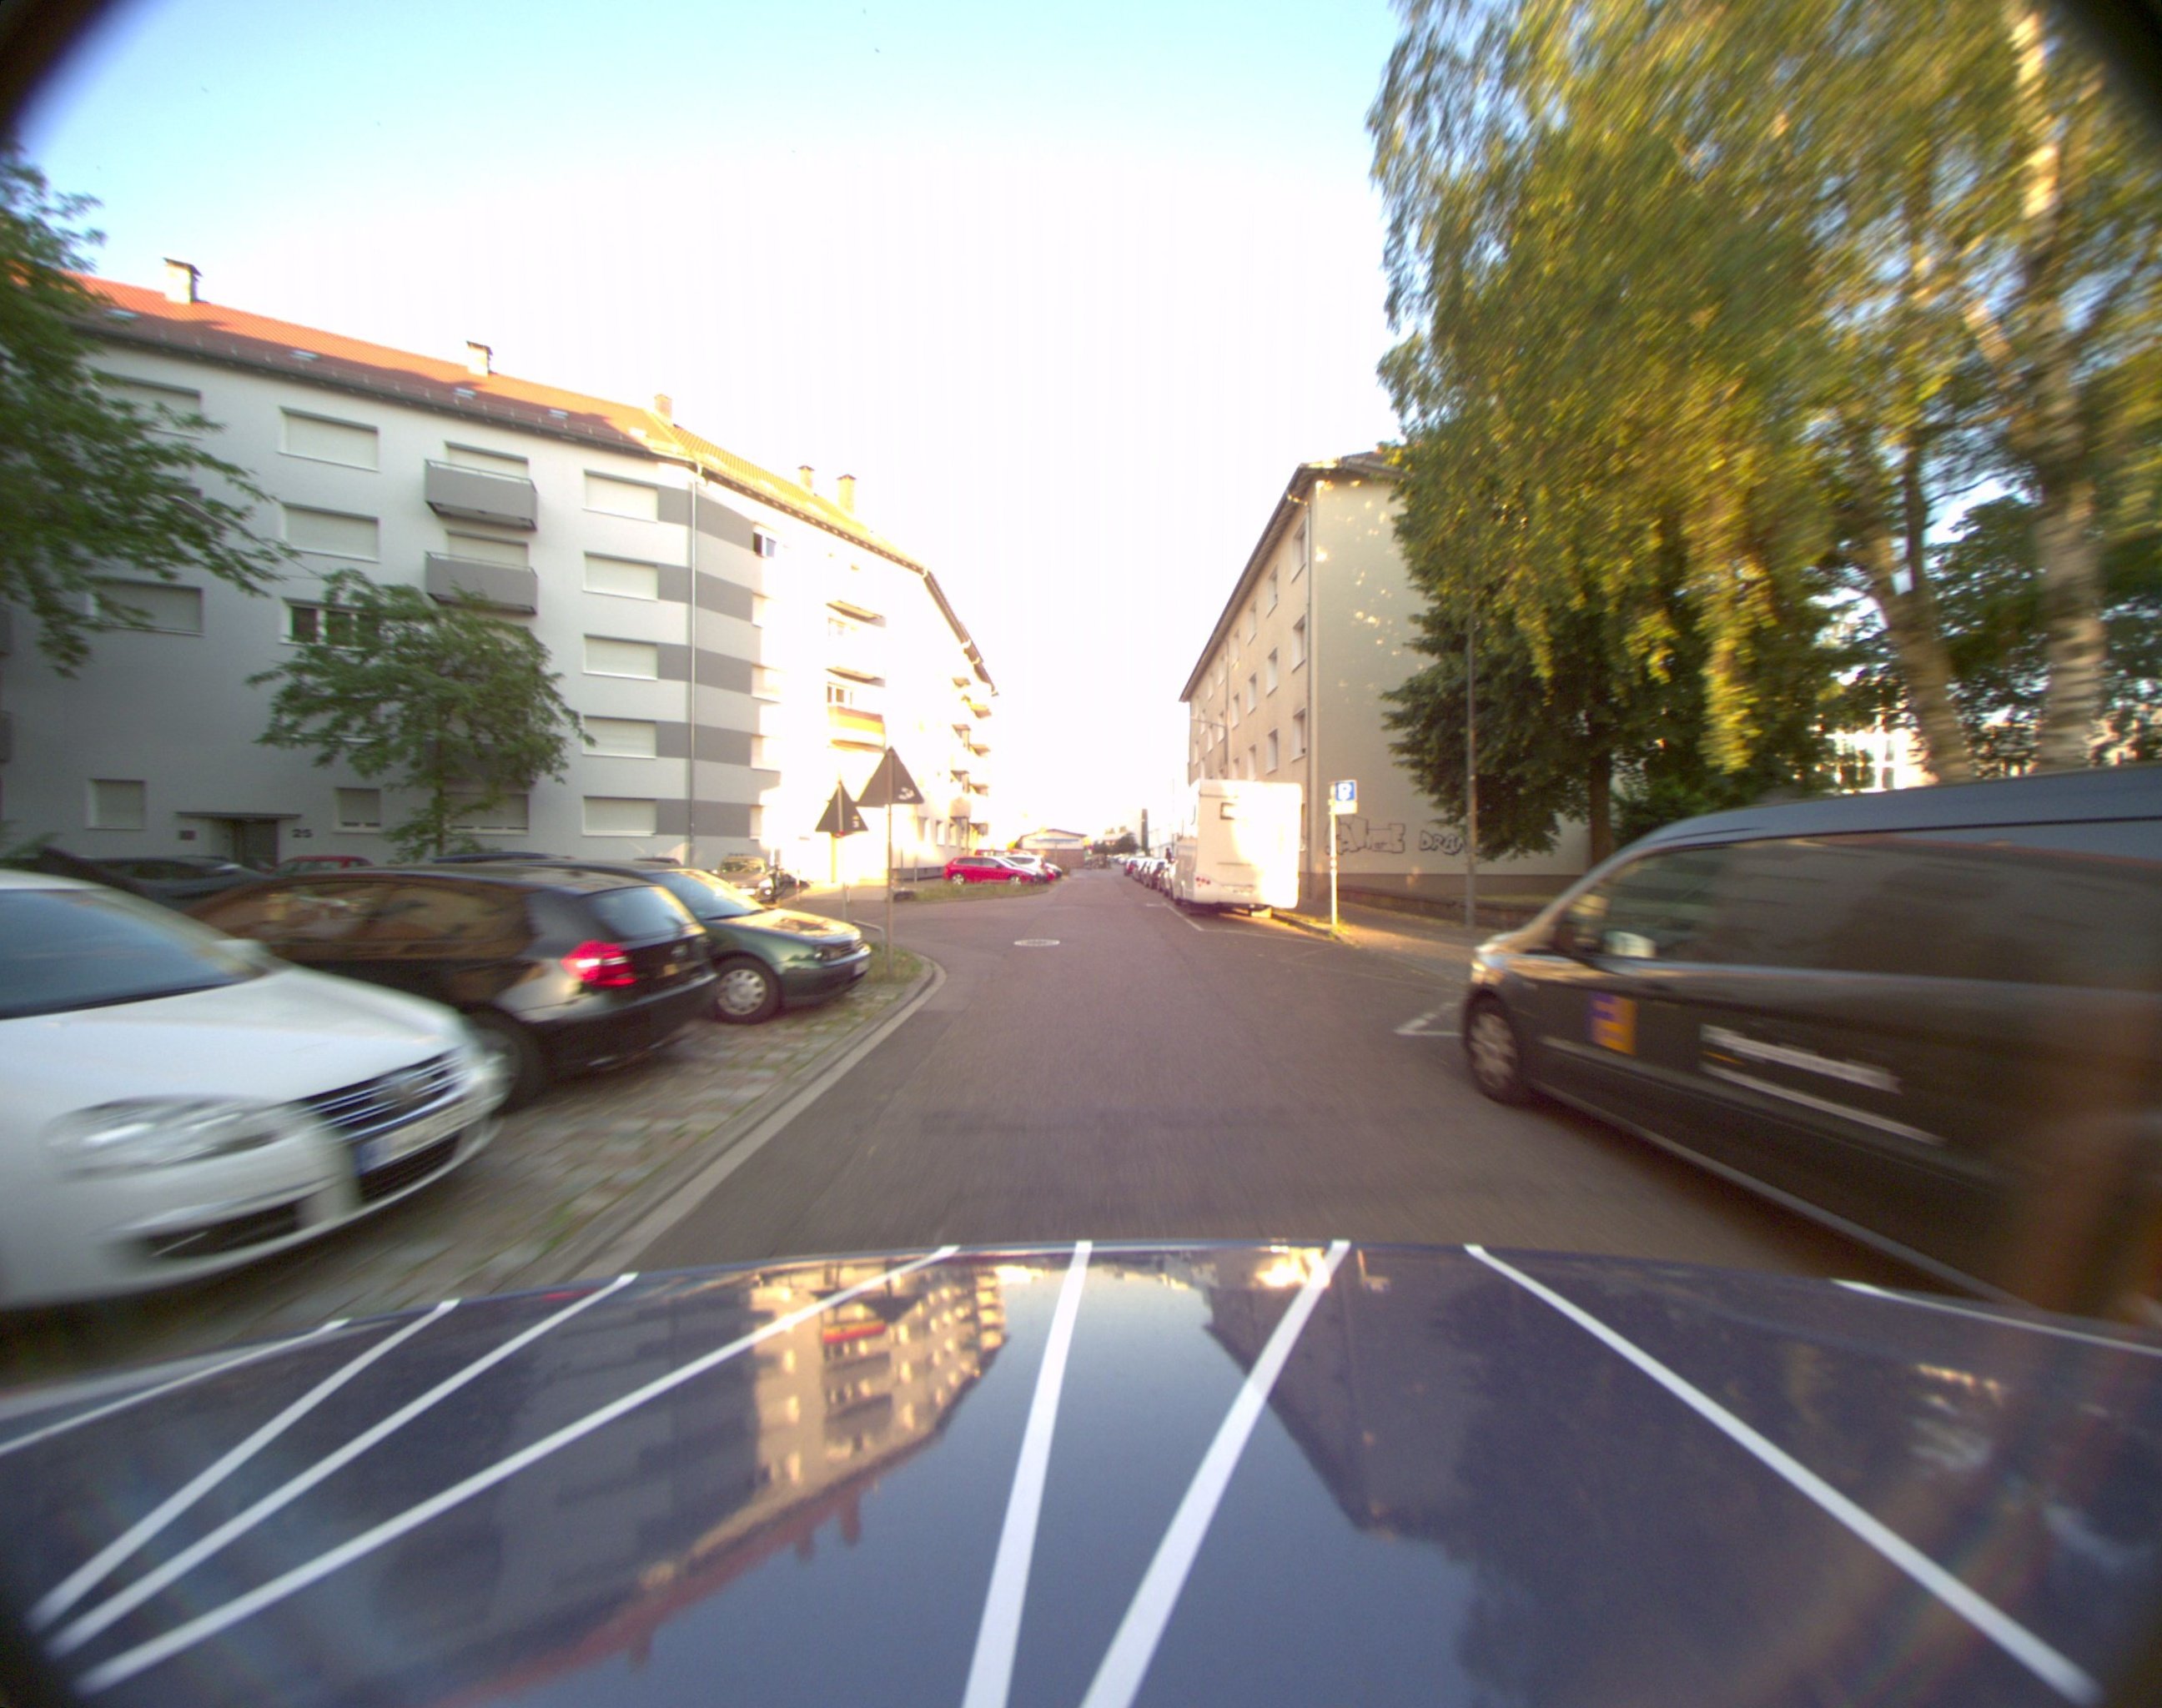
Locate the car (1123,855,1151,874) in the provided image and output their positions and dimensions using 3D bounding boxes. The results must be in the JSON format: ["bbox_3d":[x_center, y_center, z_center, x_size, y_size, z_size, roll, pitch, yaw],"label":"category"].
[{"bbox_3d":[4.701,0.866,64.519,1.999,1.481,4.431,0,0,0],"label":"car"}]

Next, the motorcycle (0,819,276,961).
[{"bbox_3d":[-10.692,0.362,8.409,0.742,1.426,2.358,0,0,36],"label":"motorcycle"}]

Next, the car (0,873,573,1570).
[{"bbox_3d":[-4.543,0.902,2.780,3.997,1.608,2.000,0,0,-1],"label":"car"}]

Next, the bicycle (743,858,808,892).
[{"bbox_3d":[-12.071,0.792,30.110,0.696,1.266,2.459,0,0,31],"label":"bicycle"}]

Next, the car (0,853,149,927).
[{"bbox_3d":[-24.560,0.766,17.785,2.003,1.576,3.991,0,0,-27],"label":"car"}]

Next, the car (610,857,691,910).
[{"bbox_3d":[-13.344,0.855,23.746,1.849,1.477,3.991,0,0,-25],"label":"car"}]

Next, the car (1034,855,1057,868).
[{"bbox_3d":[-3.988,0.834,85.345,2.000,1.481,4.427,0,0,-11],"label":"car"}]

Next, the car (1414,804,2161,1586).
[{"bbox_3d":[3.428,0.791,3.127,1.915,1.777,4.949,1,0,0],"label":"car"}]

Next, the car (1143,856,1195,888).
[{"bbox_3d":[4.245,0.844,37.187,1.999,1.436,4.431,0,0,0],"label":"car"}]

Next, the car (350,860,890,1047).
[{"bbox_3d":[-4.144,0.851,7.426,4.113,1.576,1.854,0,0,-2],"label":"car"}]

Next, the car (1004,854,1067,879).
[{"bbox_3d":[-3.055,0.840,51.731,3.995,1.674,2.001,0,0,4],"label":"car"}]

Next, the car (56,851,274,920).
[{"bbox_3d":[-22.430,0.691,18.877,2.003,1.521,3.991,0,0,-27],"label":"car"}]

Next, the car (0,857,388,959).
[{"bbox_3d":[-14.754,0.803,12.913,4.006,1.497,1.966,0,0,-28],"label":"car"}]

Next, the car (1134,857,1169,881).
[{"bbox_3d":[4.418,0.905,48.466,1.792,1.436,4.431,0,0,0],"label":"car"}]

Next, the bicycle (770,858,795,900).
[{"bbox_3d":[-10.553,0.847,26.784,0.517,1.375,2.499,-1,0,-28],"label":"bicycle"}]

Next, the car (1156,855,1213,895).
[{"bbox_3d":[4.282,0.852,31.930,1.794,1.524,4.068,2,0,0],"label":"car"}]

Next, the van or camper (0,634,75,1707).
[{"bbox_3d":[-4.412,0.637,0.476,4.846,2.084,2.040,0,0,0],"label":"van or camper"}]

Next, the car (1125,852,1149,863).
[{"bbox_3d":[9.439,0.635,129.070,3.996,1.805,2.000,0,0,3],"label":"car"}]

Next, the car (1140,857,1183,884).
[{"bbox_3d":[4.435,0.891,42.452,1.998,1.436,4.432,0,0,1],"label":"car"}]

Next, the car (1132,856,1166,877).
[{"bbox_3d":[4.752,0.880,53.840,1.999,1.436,4.431,0,0,0],"label":"car"}]

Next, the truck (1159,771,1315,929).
[{"bbox_3d":[3.811,-0.087,20.614,2.532,3.334,8.017,3,0,1],"label":"truck"}]

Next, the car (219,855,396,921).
[{"bbox_3d":[-19.855,0.791,19.756,2.003,1.507,3.991,0,0,-26],"label":"car"}]

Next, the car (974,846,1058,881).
[{"bbox_3d":[-3.708,0.543,43.975,4.684,1.988,2.000,0,0,2],"label":"car"}]

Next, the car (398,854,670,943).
[{"bbox_3d":[-10.445,0.788,14.908,4.004,1.564,1.826,0,0,-22],"label":"car"}]

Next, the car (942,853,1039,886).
[{"bbox_3d":[-4.240,0.732,36.125,4.310,1.532,1.924,0,0,2],"label":"car"}]

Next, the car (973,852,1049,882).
[{"bbox_3d":[-3.744,0.689,41.067,3.997,1.619,1.784,0,0,-1],"label":"car"}]

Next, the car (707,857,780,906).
[{"bbox_3d":[-10.872,0.827,24.416,2.003,1.412,3.991,0,0,-25],"label":"car"}]

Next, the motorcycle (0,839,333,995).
[{"bbox_3d":[-9.582,0.574,7.965,0.836,1.426,2.358,0,0,36],"label":"motorcycle"}]

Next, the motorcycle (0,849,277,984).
[{"bbox_3d":[-11.333,0.660,8.821,0.742,1.426,2.659,0,0,35],"label":"motorcycle"}]

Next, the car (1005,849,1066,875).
[{"bbox_3d":[-3.465,0.619,58.498,4.427,1.956,2.001,0,0,4],"label":"car"}]

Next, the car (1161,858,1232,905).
[{"bbox_3d":[4.037,0.905,27.362,1.911,1.468,4.910,2,0,2],"label":"car"}]

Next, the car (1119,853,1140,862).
[{"bbox_3d":[9.262,0.654,145.213,3.996,1.739,2.000,0,0,2],"label":"car"}]

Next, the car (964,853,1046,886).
[{"bbox_3d":[-3.799,0.782,38.629,3.997,1.652,2.000,0,0,-1],"label":"car"}]

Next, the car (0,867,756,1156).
[{"bbox_3d":[-4.620,0.870,5.115,3.997,1.521,2.000,0,0,-1],"label":"car"}]
